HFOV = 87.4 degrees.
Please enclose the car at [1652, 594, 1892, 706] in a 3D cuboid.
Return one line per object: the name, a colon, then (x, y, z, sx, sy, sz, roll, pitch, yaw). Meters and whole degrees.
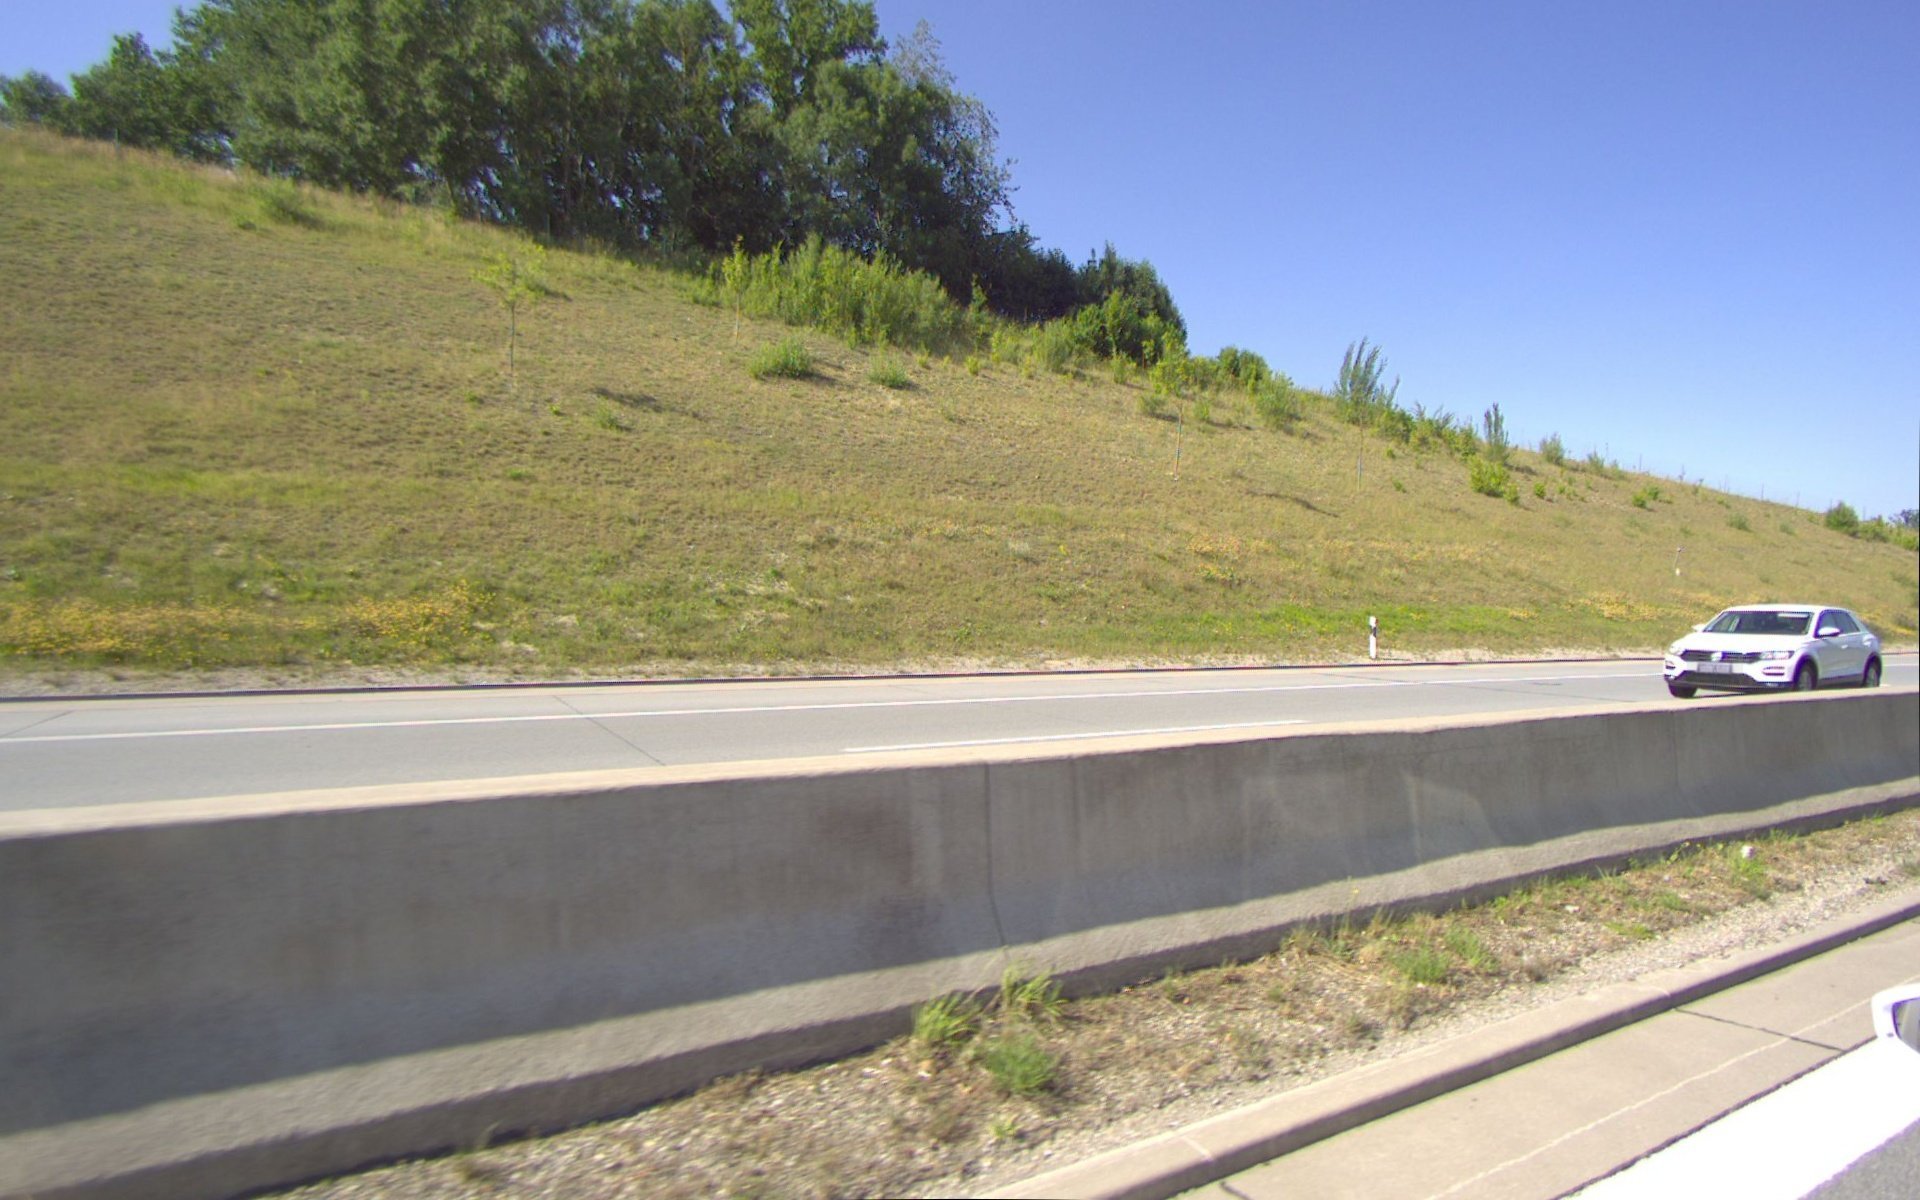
car: (13.384, 0.764, 16.515, 3.992, 1.623, 1.767, 1, 1, -31)
